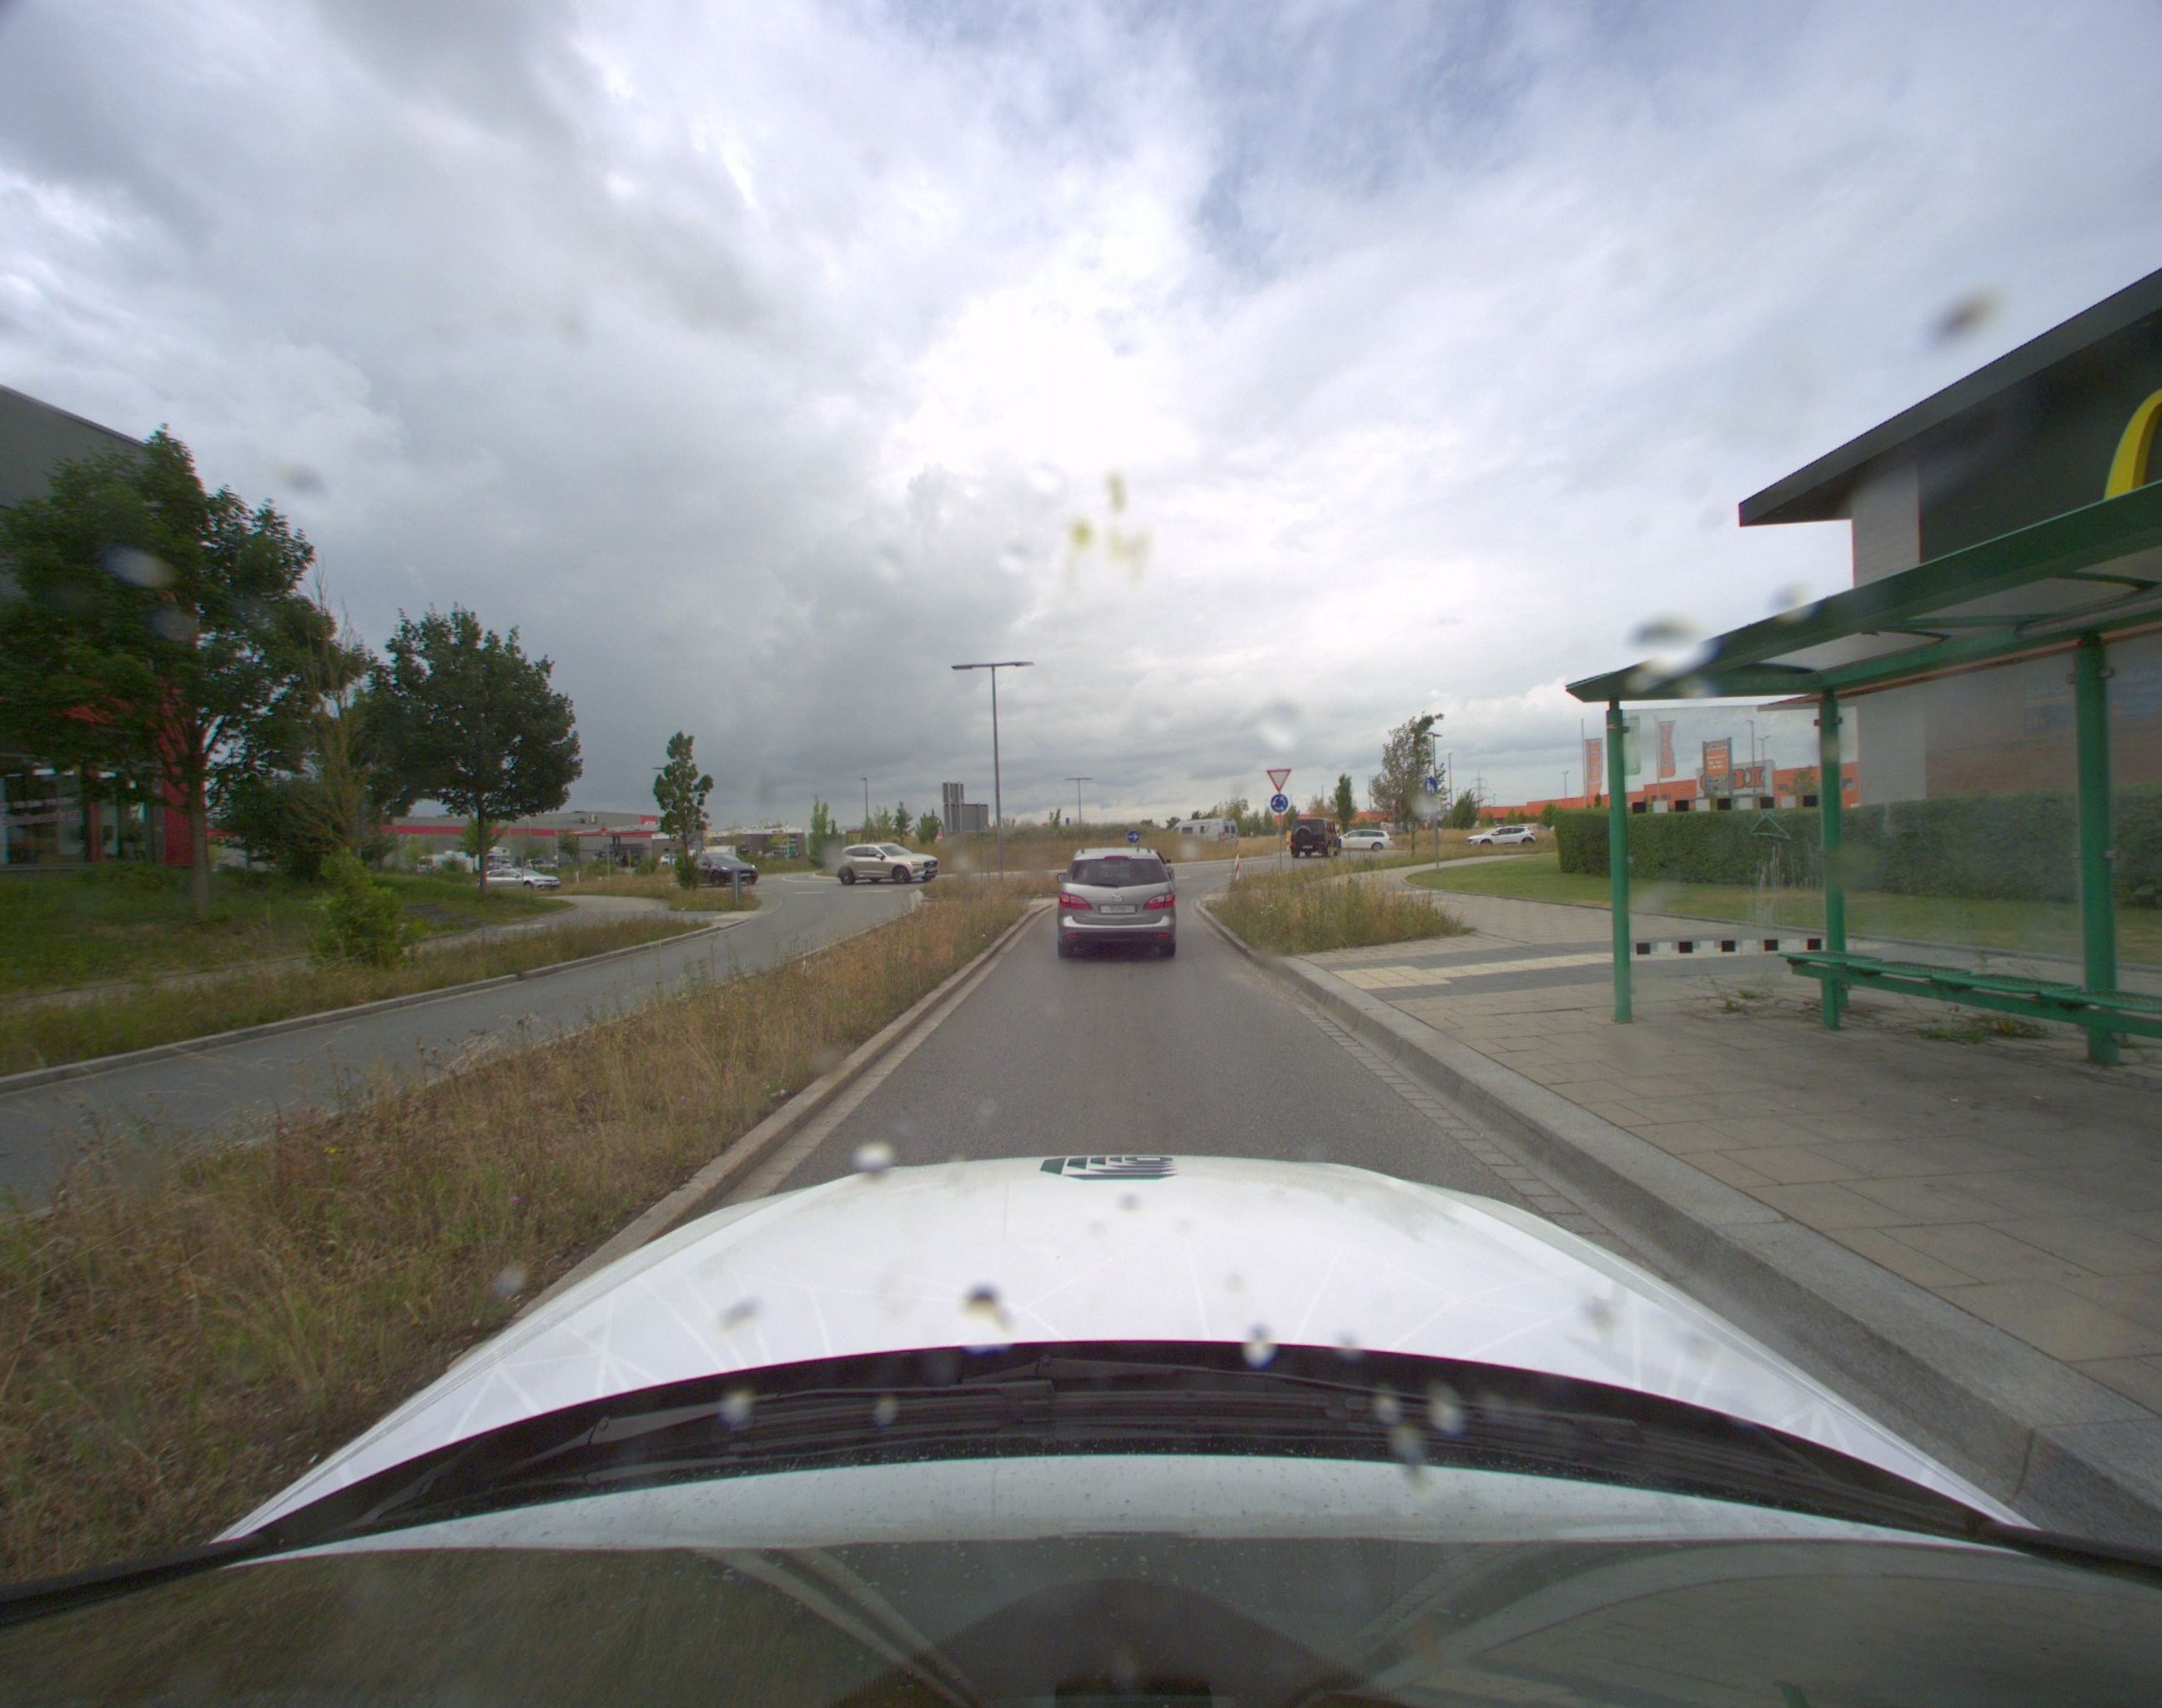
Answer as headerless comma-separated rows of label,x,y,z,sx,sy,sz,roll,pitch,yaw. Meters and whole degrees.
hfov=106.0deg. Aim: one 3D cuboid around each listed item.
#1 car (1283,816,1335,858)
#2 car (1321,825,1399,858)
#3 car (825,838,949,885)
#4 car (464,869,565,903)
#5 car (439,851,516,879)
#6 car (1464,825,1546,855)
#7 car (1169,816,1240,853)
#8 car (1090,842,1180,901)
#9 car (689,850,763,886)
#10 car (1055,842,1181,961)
car,11.740,-0.926,41.748,2.060,1.886,4.801,-2,3,21
car,18.489,-0.821,54.104,4.721,1.886,2.095,-2,2,18
car,-8.019,0.318,33.602,4.714,1.738,1.957,-2,3,28
car,-30.307,1.700,43.624,3.976,1.464,1.813,-4,1,-2
car,-64.968,1.162,87.910,2.455,2.820,7.689,0,-1,0
car,27.140,-0.911,52.223,4.302,1.648,1.875,-3,2,8
car,9.112,-1.446,60.320,4.715,2.543,2.097,-1,3,44
car,1.672,0.437,23.848,1.724,1.403,4.017,0,3,17
car,-17.122,0.637,39.167,1.955,1.498,4.719,-5,3,-39
car,0.564,0.626,13.187,1.731,1.598,3.999,0,1,1
